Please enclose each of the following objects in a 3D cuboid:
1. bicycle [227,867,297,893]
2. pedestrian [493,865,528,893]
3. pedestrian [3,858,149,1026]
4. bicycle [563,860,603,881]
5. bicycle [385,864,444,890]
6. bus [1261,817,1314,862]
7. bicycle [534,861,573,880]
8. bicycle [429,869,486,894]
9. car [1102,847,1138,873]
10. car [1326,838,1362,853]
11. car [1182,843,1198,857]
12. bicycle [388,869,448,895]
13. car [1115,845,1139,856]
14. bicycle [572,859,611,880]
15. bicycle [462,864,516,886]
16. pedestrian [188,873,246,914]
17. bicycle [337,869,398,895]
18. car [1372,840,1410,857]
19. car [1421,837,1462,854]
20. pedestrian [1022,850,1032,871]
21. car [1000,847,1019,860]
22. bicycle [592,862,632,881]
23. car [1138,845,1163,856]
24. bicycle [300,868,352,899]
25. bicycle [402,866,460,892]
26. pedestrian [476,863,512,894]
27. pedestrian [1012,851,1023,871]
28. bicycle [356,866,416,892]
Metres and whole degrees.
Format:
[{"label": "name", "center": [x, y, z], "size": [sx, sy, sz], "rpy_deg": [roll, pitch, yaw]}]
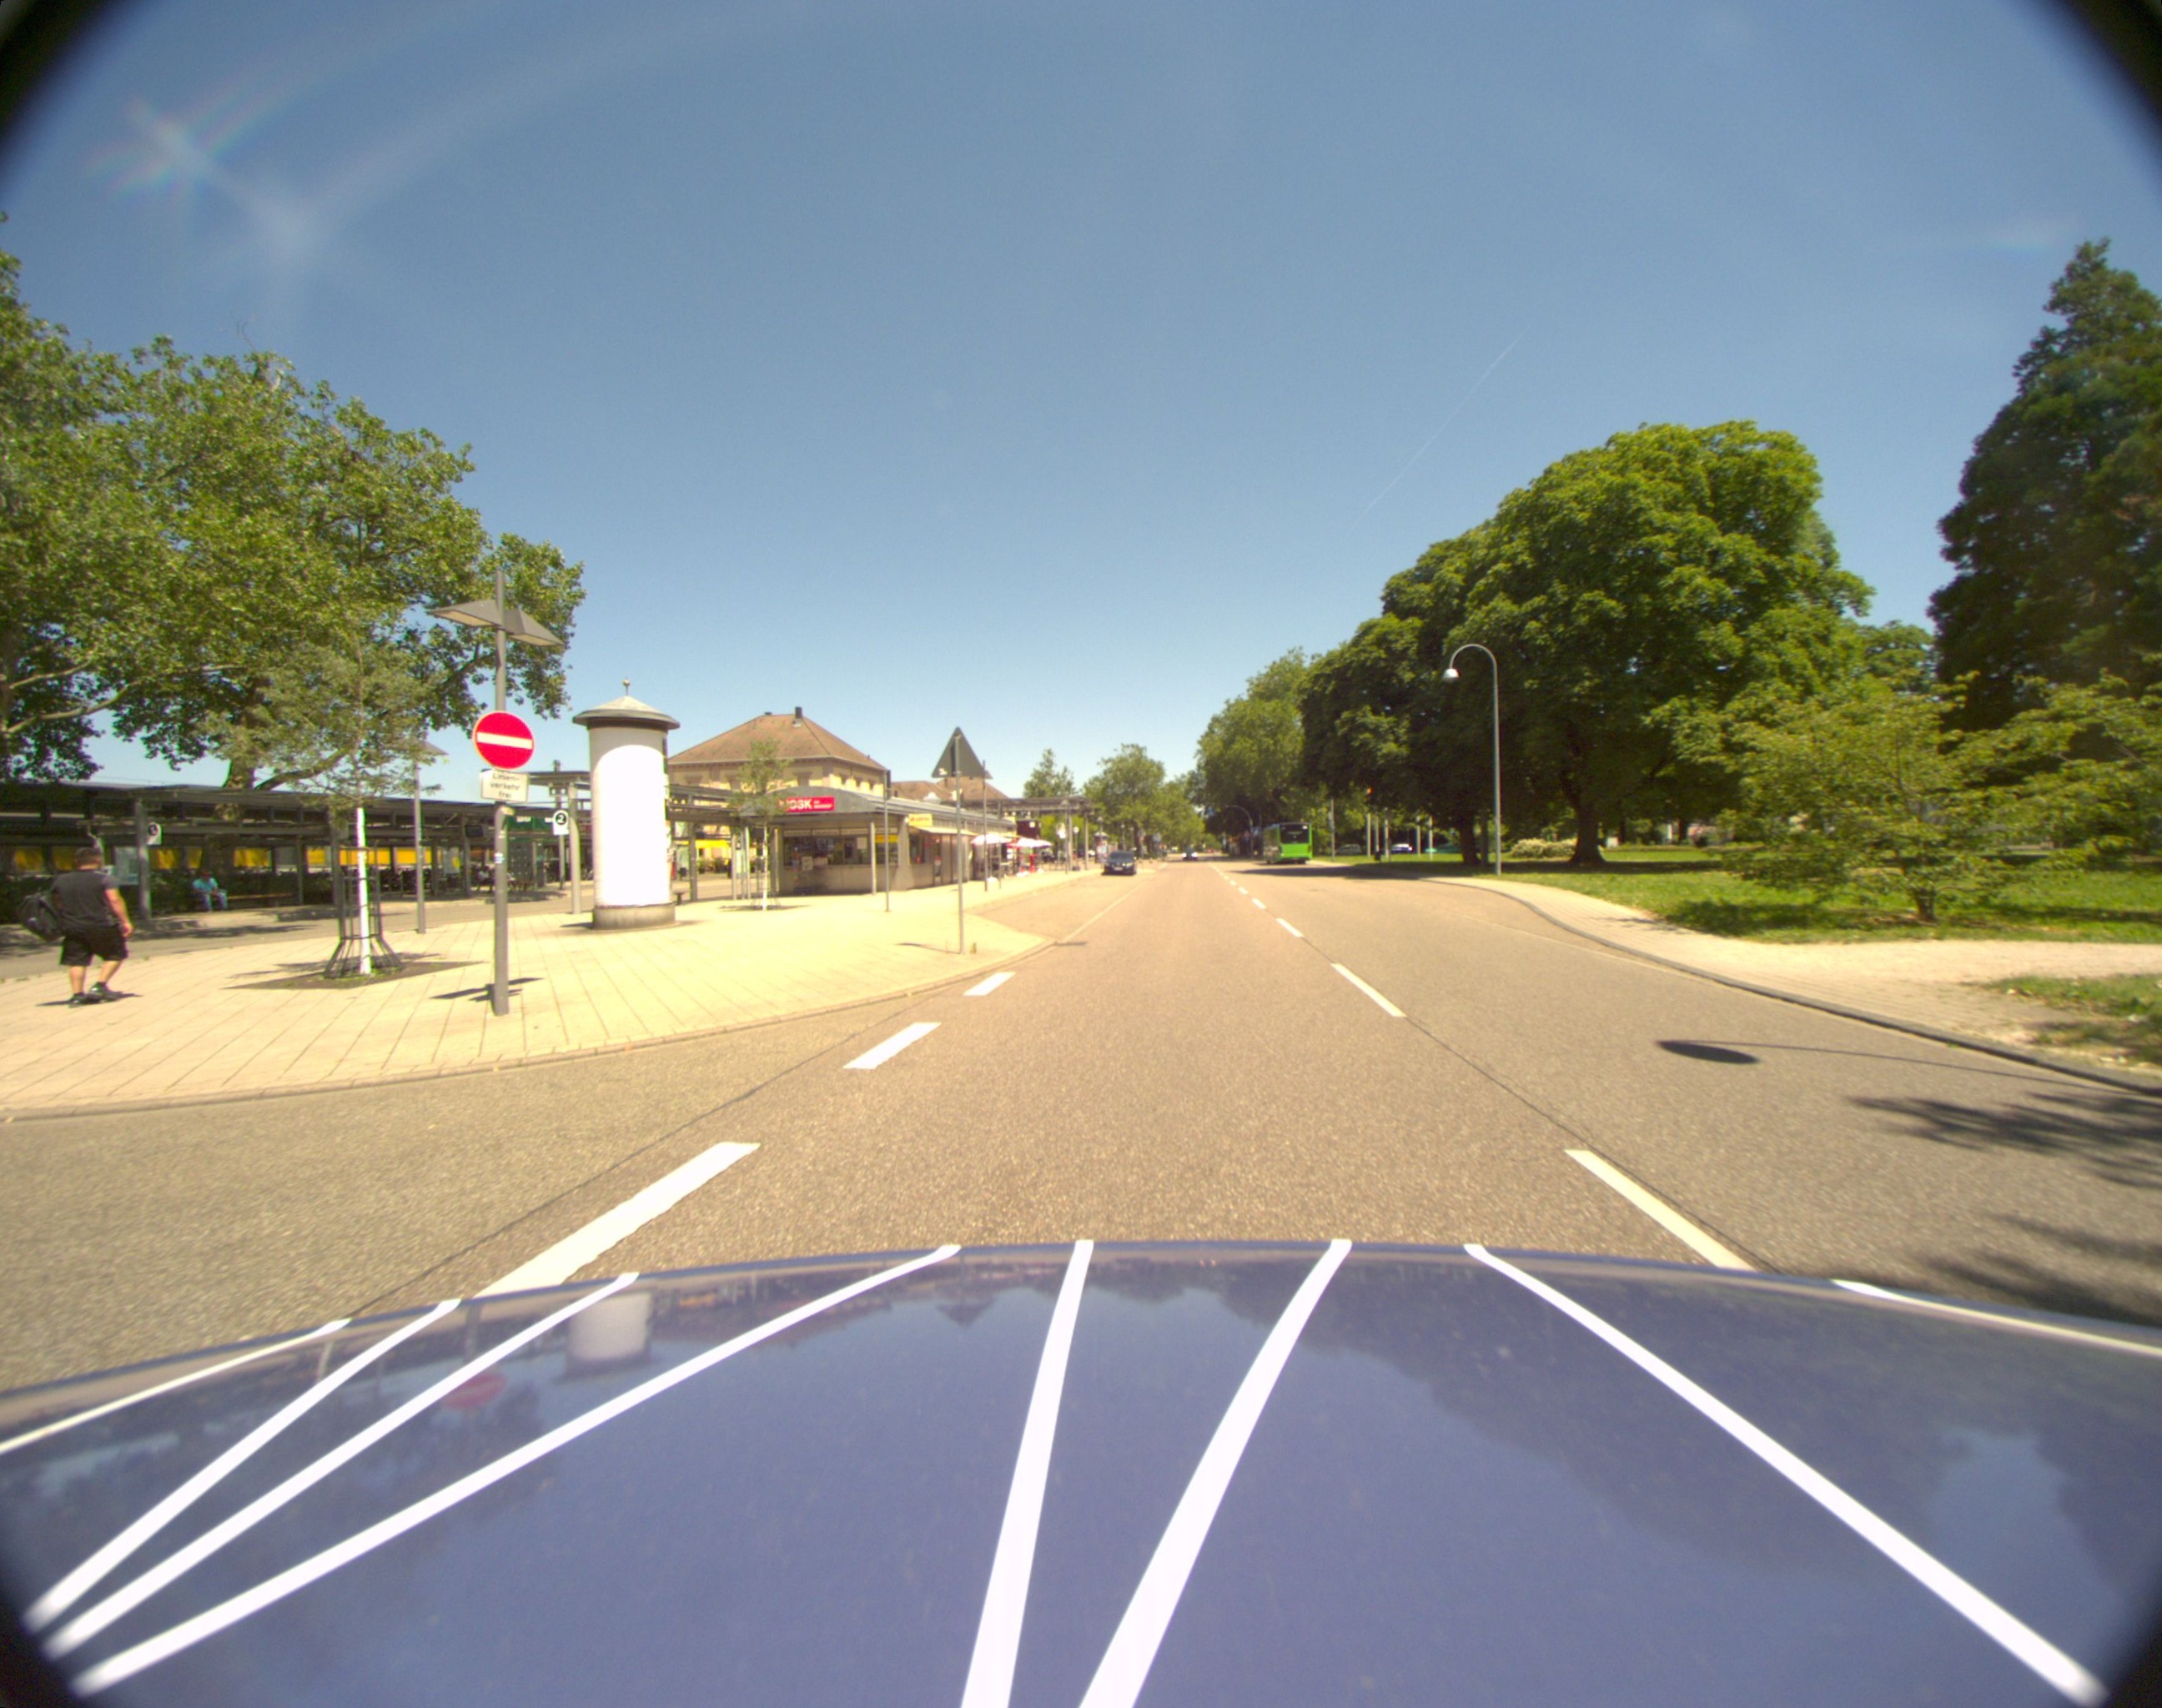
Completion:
[{"label": "bicycle", "center": [-36.451, 1.135, 33.837], "size": [2.169, 1.068, 0.669], "rpy_deg": [-1, 5, -5]}, {"label": "pedestrian", "center": [-26.748, 1.165, 35.655], "size": [0.961, 1.297, 0.831], "rpy_deg": [-1, 1, 10]}, {"label": "pedestrian", "center": [-11.442, 0.951, 8.689], "size": [0.693, 1.775, 0.917], "rpy_deg": [-1, 2, 39]}, {"label": "bicycle", "center": [-31.330, 1.020, 47.848], "size": [0.669, 1.068, 2.170], "rpy_deg": [1, 4, 12]}, {"label": "bicycle", "center": [-33.117, 1.131, 37.802], "size": [0.669, 1.068, 2.170], "rpy_deg": [1, 4, 12]}, {"label": "bus", "center": [17.089, -1.182, 63.639], "size": [2.812, 3.284, 11.863], "rpy_deg": [-2, 1, 8]}, {"label": "bicycle", "center": [-33.008, 1.018, 47.570], "size": [2.166, 1.068, 0.670], "rpy_deg": [1, 5, 12]}, {"label": "bicycle", "center": [-29.220, 1.284, 35.626], "size": [2.167, 1.068, 0.670], "rpy_deg": [0, 5, 6]}, {"label": "car", "center": [2.445, 0.340, 46.846], "size": [1.777, 1.536, 4.185], "rpy_deg": [0, 1, 9]}, {"label": "car", "center": [32.565, -1.068, 94.152], "size": [3.993, 1.793, 2.001], "rpy_deg": [-2, 1, 11]}, {"label": "car", "center": [12.720, -0.492, 88.644], "size": [1.777, 1.536, 4.185], "rpy_deg": [0, 1, 9]}, {"label": "bicycle", "center": [-29.544, 1.242, 33.871], "size": [2.167, 1.068, 0.670], "rpy_deg": [0, 5, 6]}, {"label": "car", "center": [7.951, -0.587, 131.304], "size": [3.996, 1.655, 2.000], "rpy_deg": [-2, 1, 2]}, {"label": "bicycle", "center": [-30.647, 0.961, 47.623], "size": [0.669, 1.068, 2.170], "rpy_deg": [1, 4, 12]}, {"label": "bicycle", "center": [-32.664, 1.155, 41.963], "size": [2.170, 1.068, 0.862], "rpy_deg": [-1, 4, -9]}, {"label": "pedestrian", "center": [-28.298, 1.285, 24.899], "size": [0.830, 1.267, 0.868], "rpy_deg": [-1, 1, 5]}, {"label": "bicycle", "center": [-35.952, 1.393, 38.337], "size": [0.669, 1.068, 2.170], "rpy_deg": [1, 4, 12]}, {"label": "car", "center": [37.862, -0.700, 92.782], "size": [3.993, 2.002, 2.001], "rpy_deg": [-2, 1, 11]}, {"label": "car", "center": [43.699, -1.049, 92.118], "size": [3.994, 2.002, 2.001], "rpy_deg": [-2, 1, 8]}, {"label": "pedestrian", "center": [-3.270, 0.394, 46.127], "size": [0.503, 1.225, 0.513], "rpy_deg": [-2, 1, 3]}, {"label": "car", "center": [-10.855, -0.053, 115.743], "size": [1.997, 1.869, 4.002], "rpy_deg": [-2, 1, 9]}, {"label": "bicycle", "center": [-28.116, 1.026, 45.543], "size": [2.166, 1.068, 0.670], "rpy_deg": [1, 5, 12]}, {"label": "car", "center": [11.626, -0.596, 126.727], "size": [3.996, 1.655, 2.000], "rpy_deg": [-2, 1, 2]}, {"label": "bicycle", "center": [-32.592, 1.255, 32.839], "size": [0.671, 1.068, 2.164], "rpy_deg": [-2, 4, -19]}, {"label": "bicycle", "center": [-32.100, 1.215, 37.581], "size": [0.669, 1.068, 2.170], "rpy_deg": [1, 4, 12]}, {"label": "pedestrian", "center": [-26.832, 1.109, 34.755], "size": [0.961, 1.378, 0.831], "rpy_deg": [-1, 1, 10]}, {"label": "pedestrian", "center": [-3.840, 0.407, 46.065], "size": [0.489, 1.204, 0.472], "rpy_deg": [-1, 1, 15]}, {"label": "bicycle", "center": [-34.786, 1.254, 38.066], "size": [0.669, 1.068, 2.170], "rpy_deg": [1, 4, 12]}]
